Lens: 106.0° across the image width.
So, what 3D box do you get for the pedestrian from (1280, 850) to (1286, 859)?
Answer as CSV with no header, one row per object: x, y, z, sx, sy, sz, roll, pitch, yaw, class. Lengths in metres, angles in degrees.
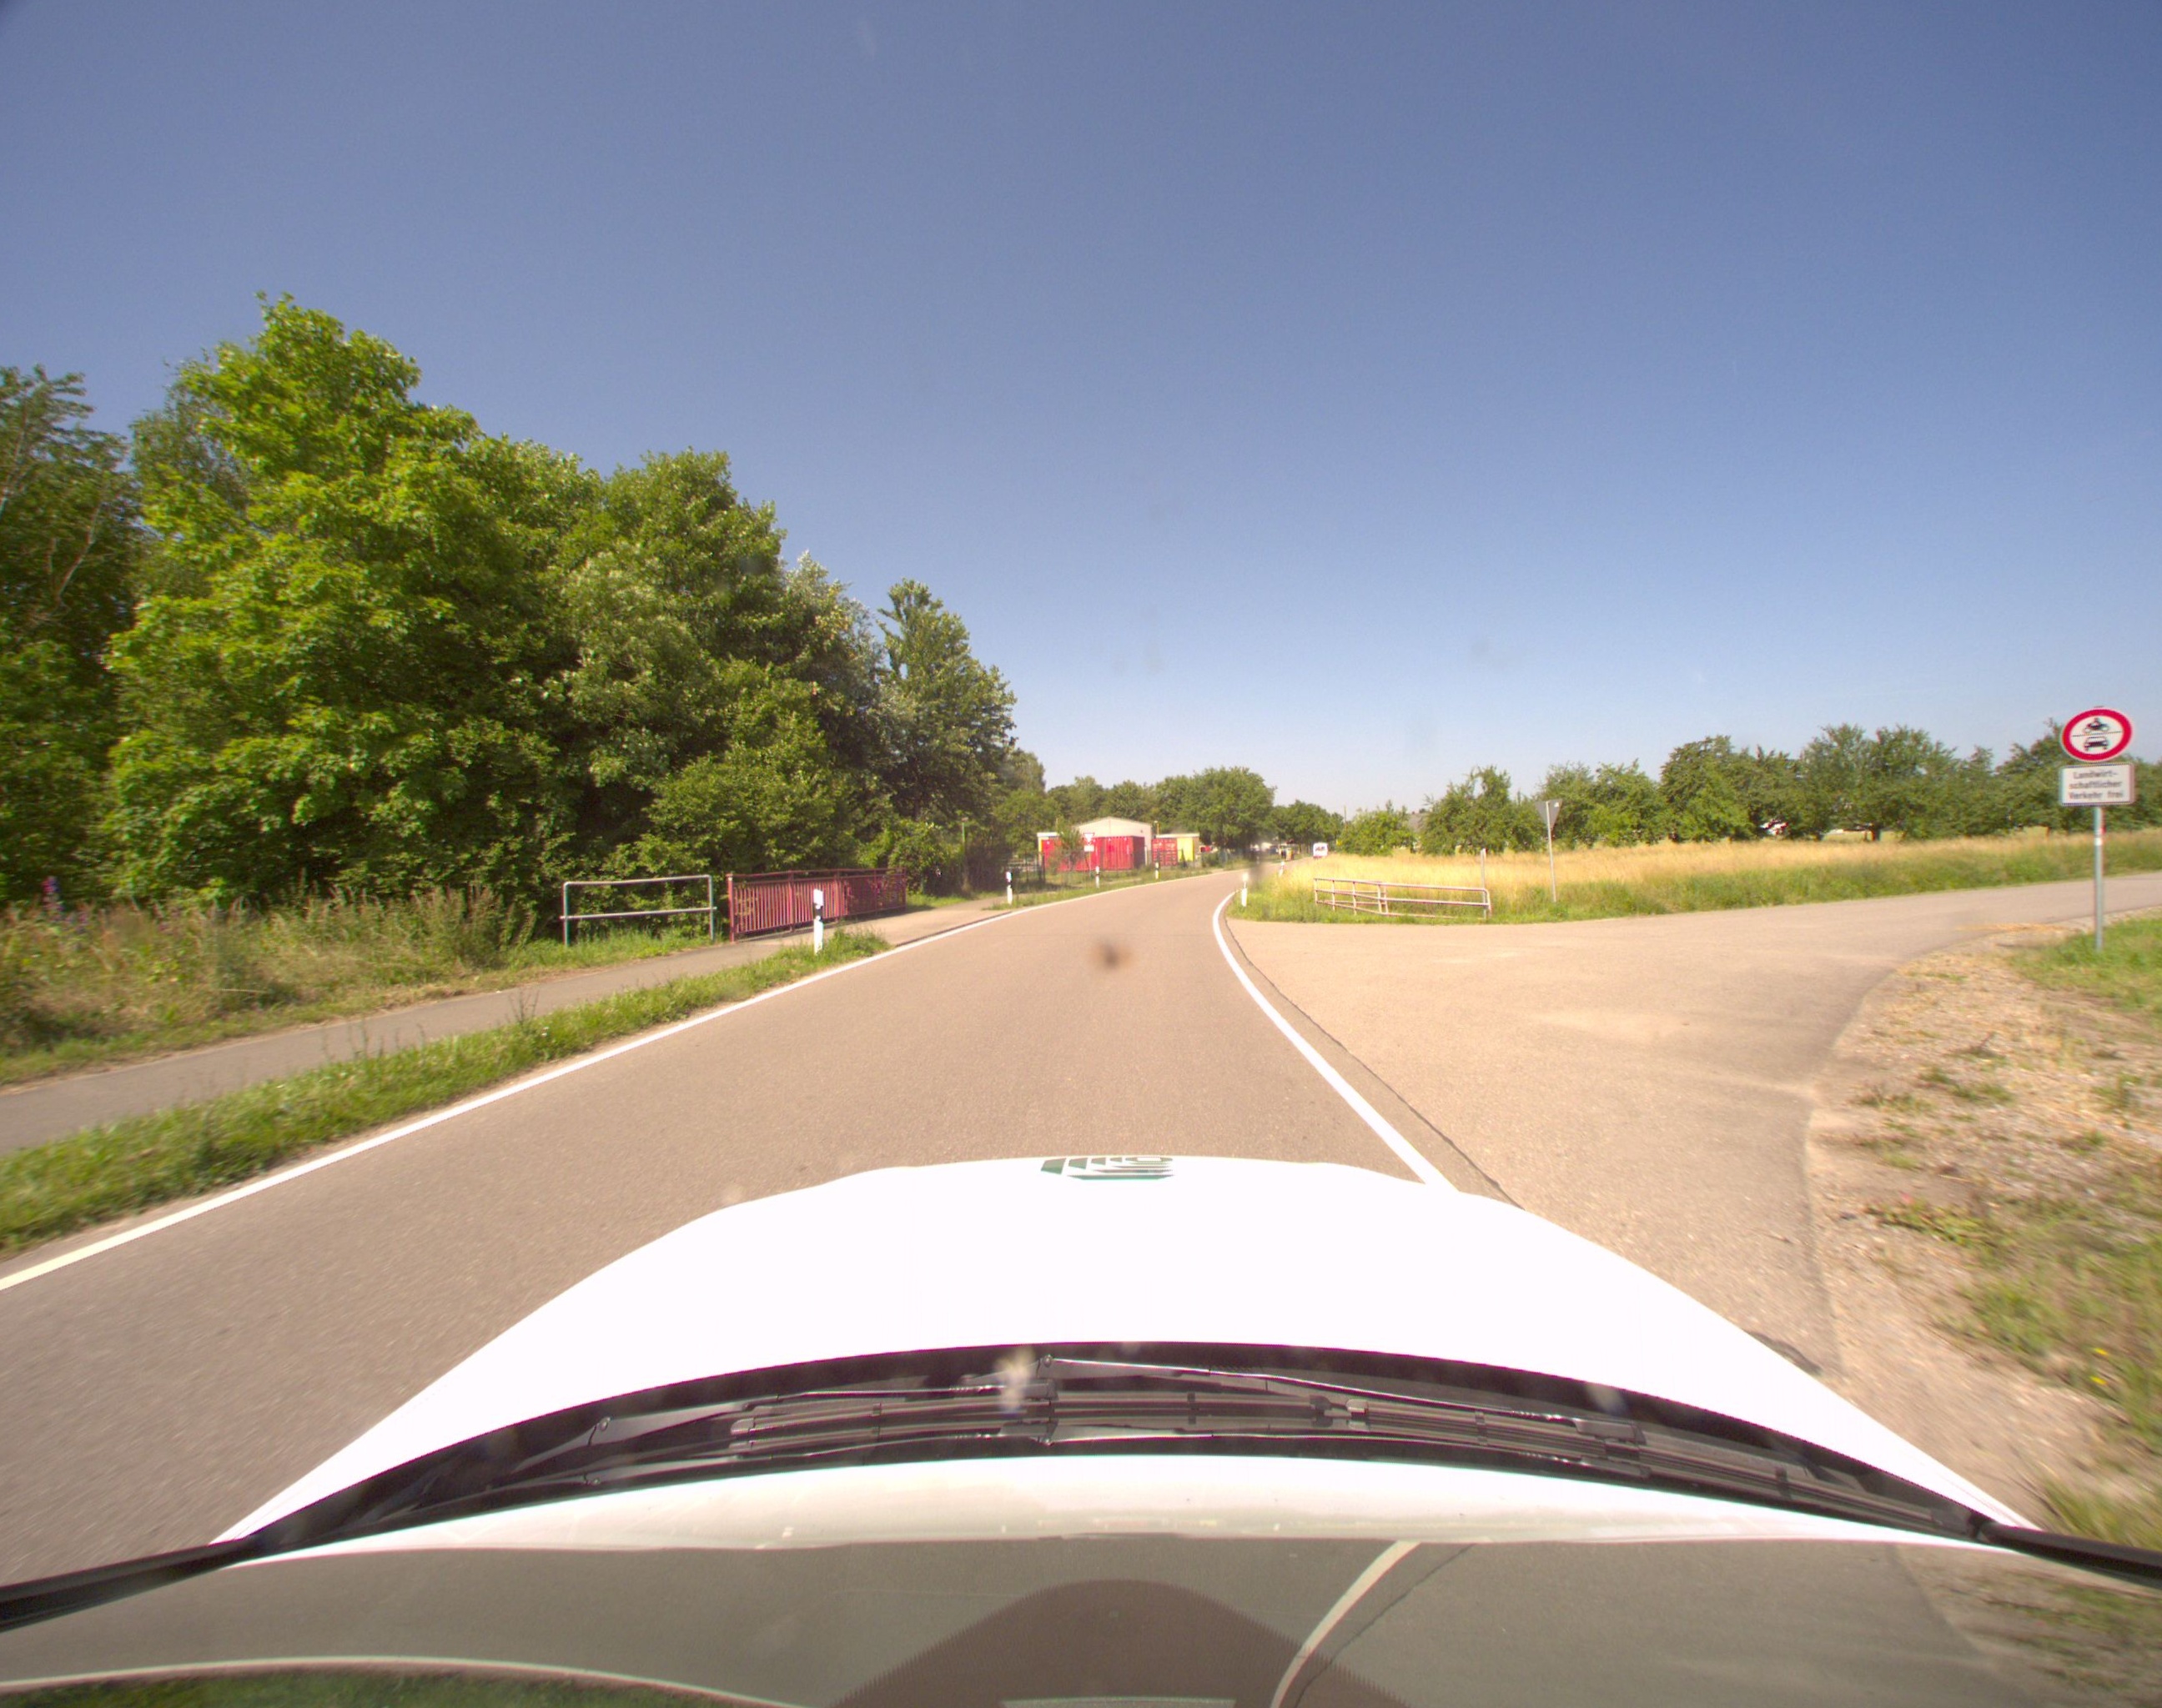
35.064,0.121,141.589,0.670,1.566,0.723,-3,-1,43,pedestrian

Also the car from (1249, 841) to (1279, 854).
37.045,-1.313,164.558,5.611,2.266,1.988,-2,0,-18,car

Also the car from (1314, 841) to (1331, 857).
34.935,-0.737,117.766,1.976,2.266,4.750,-2,0,21,car

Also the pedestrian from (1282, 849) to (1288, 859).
35.629,-0.021,142.079,0.713,1.803,0.714,-3,-1,43,pedestrian
